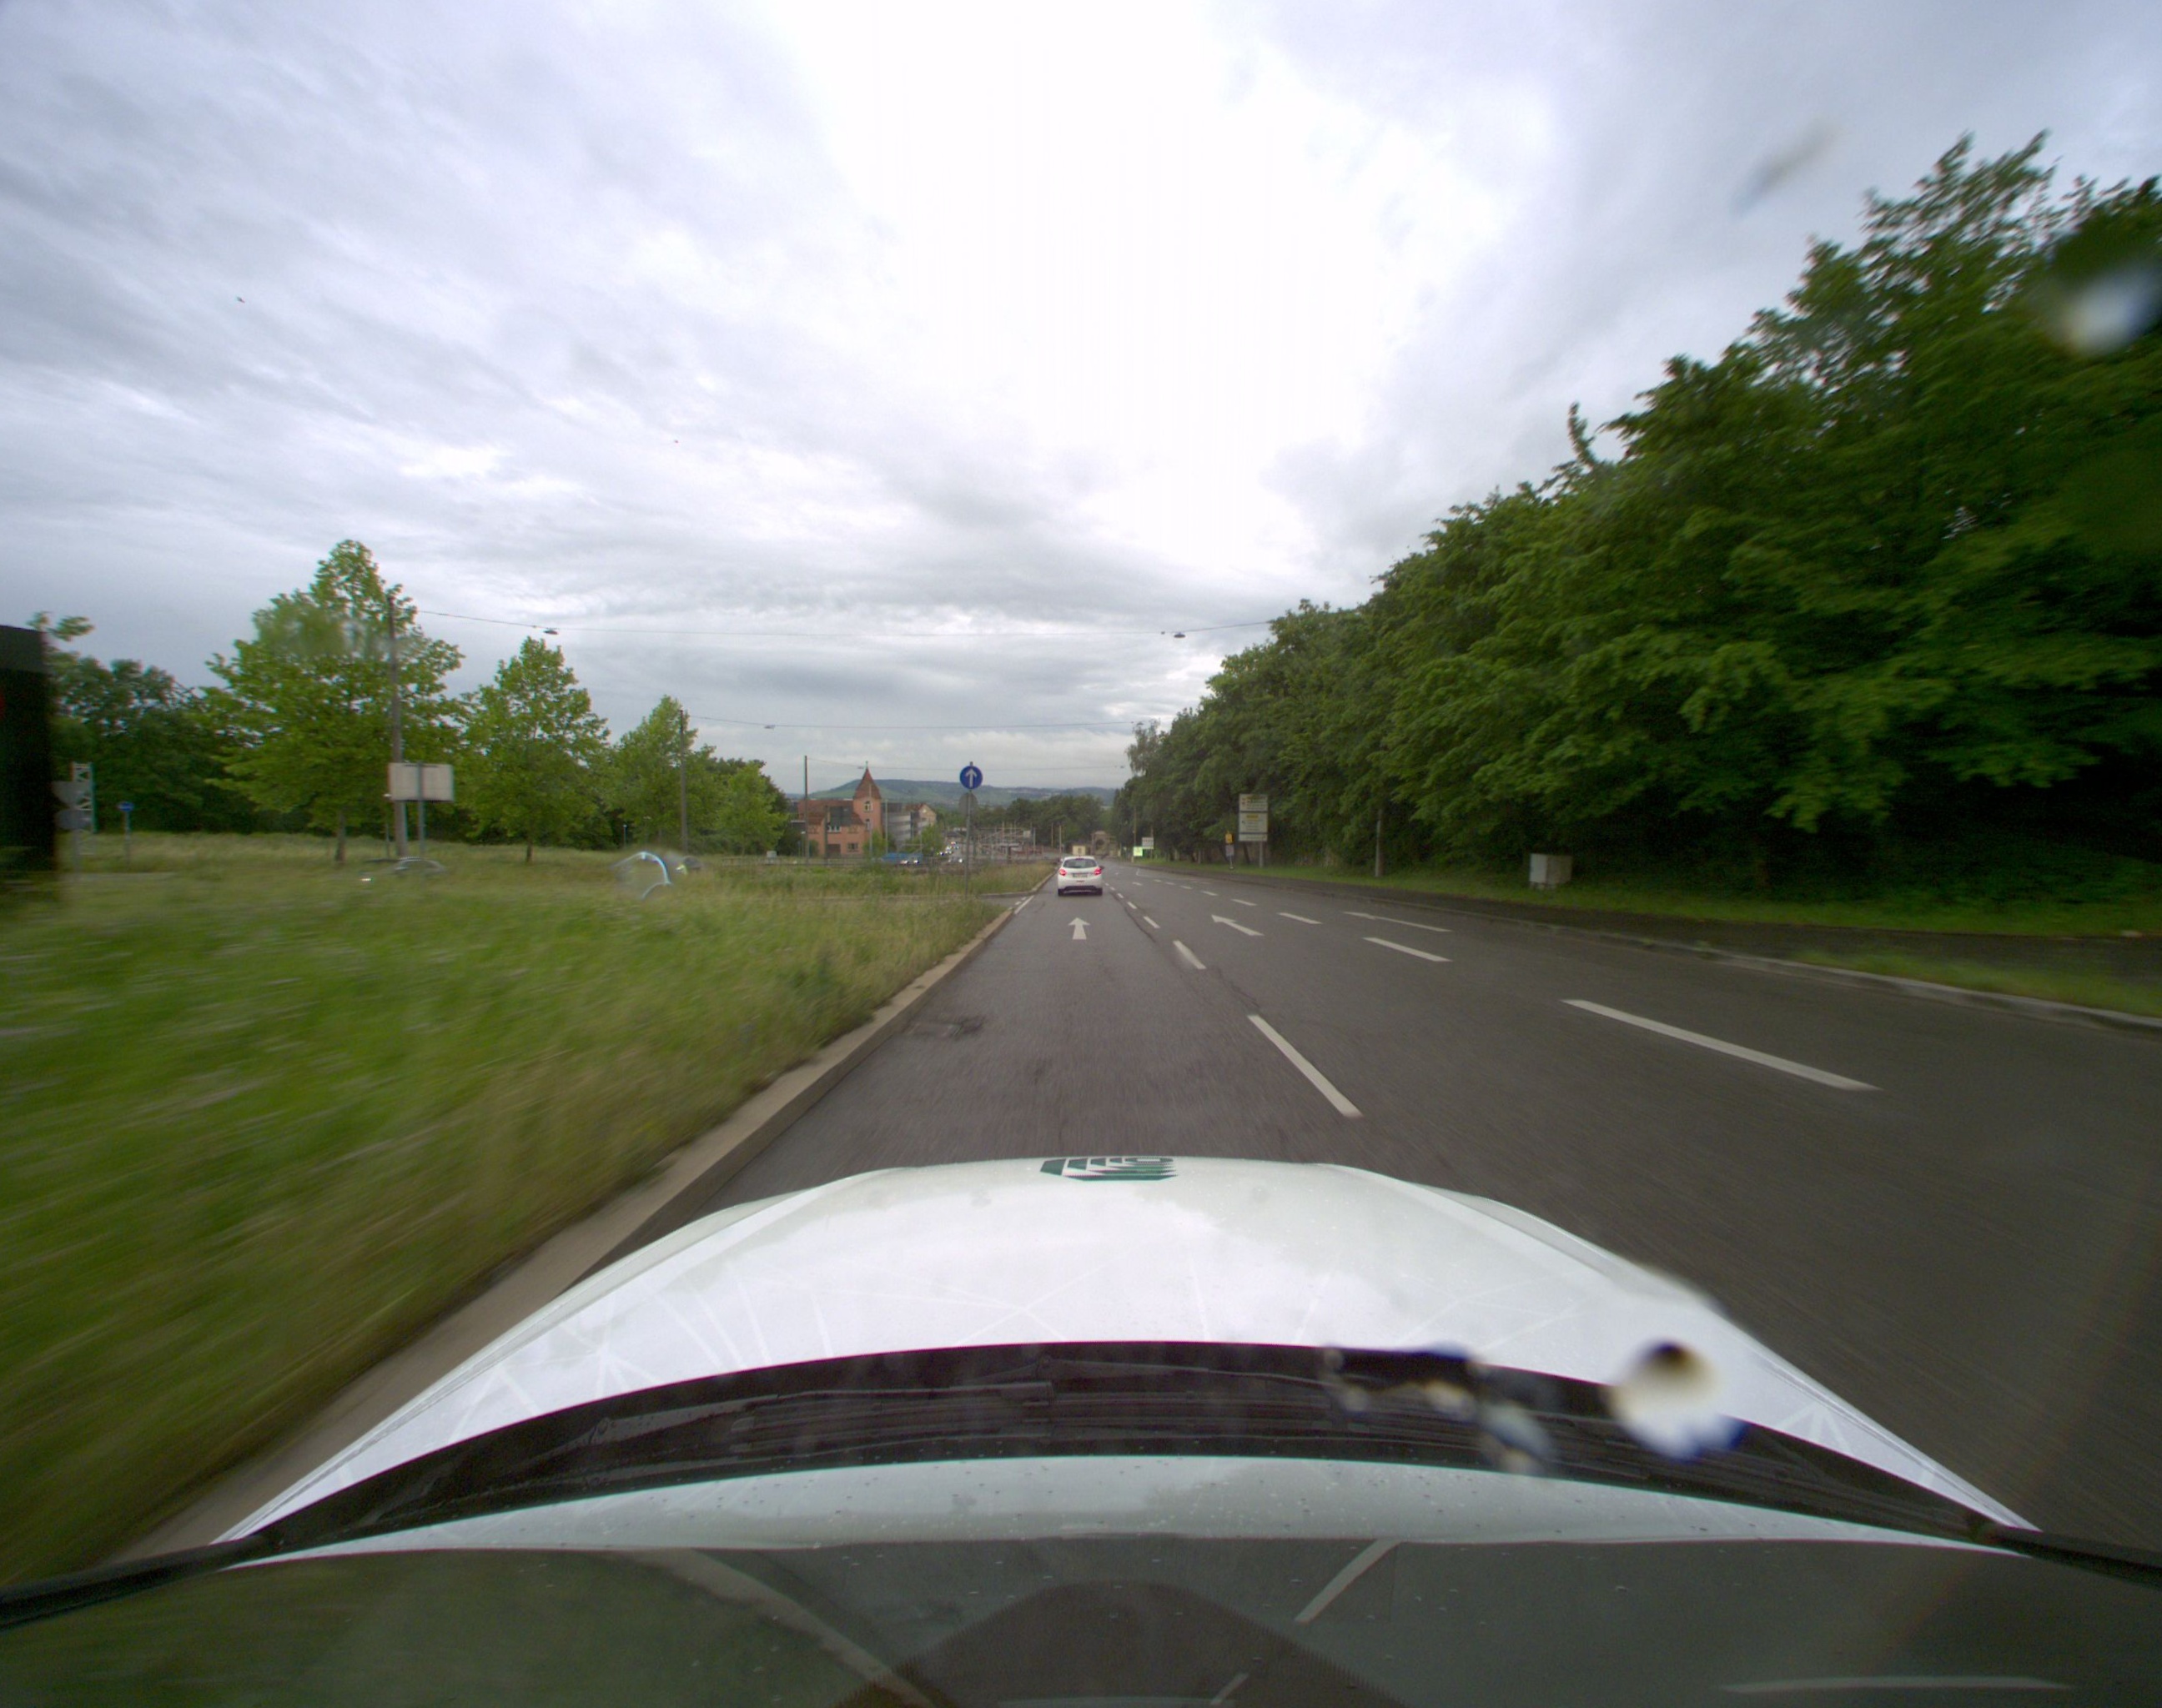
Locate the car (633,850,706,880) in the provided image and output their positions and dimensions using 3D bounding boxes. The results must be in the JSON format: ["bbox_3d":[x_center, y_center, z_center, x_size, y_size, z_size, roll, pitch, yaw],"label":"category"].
[{"bbox_3d":[-22.016,0.558,43.770,1.651,1.528,4.435,1,0,0],"label":"car"}]

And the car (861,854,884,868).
[{"bbox_3d":[-26.561,0.856,103.813,1.884,1.641,3.972,-1,0,0],"label":"car"}]

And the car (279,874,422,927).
[{"bbox_3d":[-25.475,1.575,28.609,1.653,1.574,3.787,3,0,-3],"label":"car"}]

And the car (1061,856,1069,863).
[{"bbox_3d":[-3.918,1.431,204.704,1.816,1.606,4.000,-2,0,1],"label":"car"}]

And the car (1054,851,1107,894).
[{"bbox_3d":[-0.014,0.675,31.651,1.862,1.511,3.899,-2,0,0],"label":"car"}]
